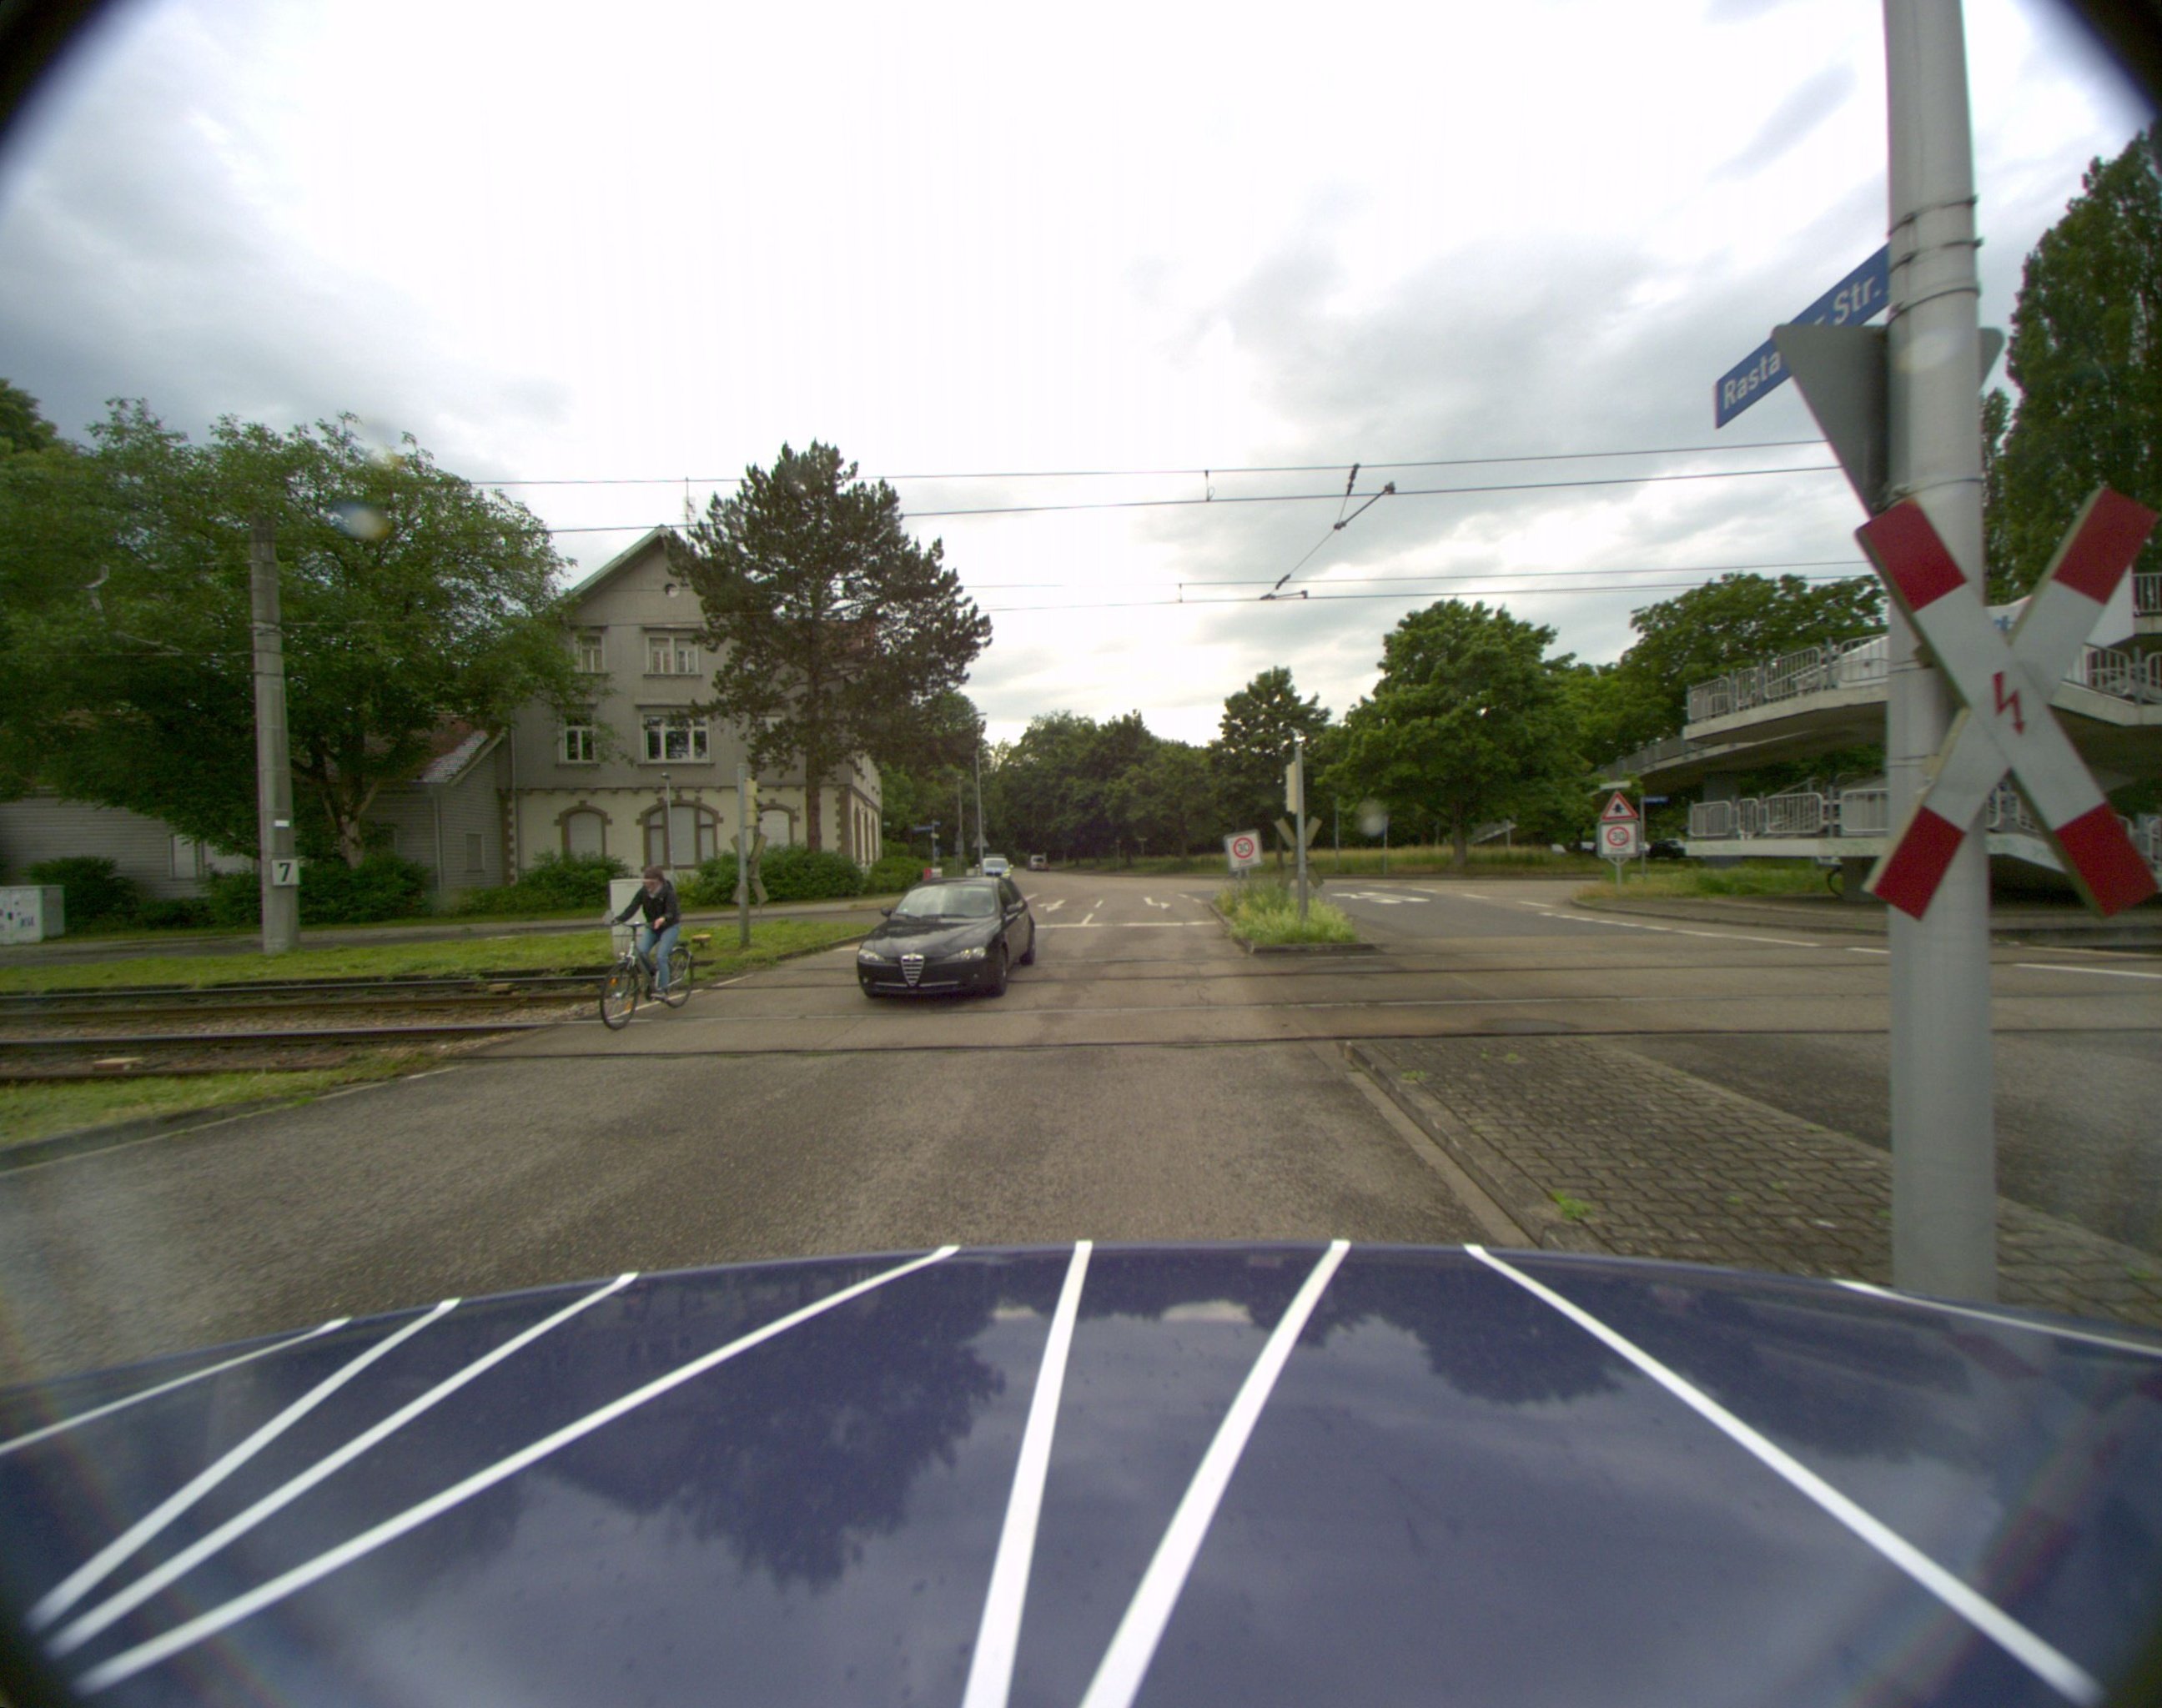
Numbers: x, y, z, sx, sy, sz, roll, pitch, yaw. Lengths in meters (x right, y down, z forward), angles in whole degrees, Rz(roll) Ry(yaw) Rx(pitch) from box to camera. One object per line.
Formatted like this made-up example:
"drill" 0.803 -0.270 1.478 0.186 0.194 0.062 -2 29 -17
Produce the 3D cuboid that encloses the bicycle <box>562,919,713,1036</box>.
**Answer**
"bicycle" -4.960 1.334 8.666 0.383 0.975 2.030 -2 1 4

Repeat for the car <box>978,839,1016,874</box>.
"car" -4.721 0.119 42.104 1.937 1.839 3.996 0 1 -9

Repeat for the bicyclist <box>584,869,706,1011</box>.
"bicyclist" -4.857 0.921 8.525 0.622 1.417 0.961 -6 2 3

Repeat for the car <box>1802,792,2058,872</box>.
"car" 27.218 -0.691 24.618 5.198 2.279 2.143 -2 2 16

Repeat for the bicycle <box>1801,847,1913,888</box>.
"bicycle" 17.527 0.306 17.205 1.738 0.880 0.395 -1 2 27

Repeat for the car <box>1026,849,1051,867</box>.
"car" -4.890 0.451 86.133 2.095 1.847 4.216 -3 1 -13

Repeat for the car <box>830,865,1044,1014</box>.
"car" -1.696 0.977 10.584 1.802 1.449 4.541 -2 1 4

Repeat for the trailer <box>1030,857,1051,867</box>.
"trailer" -4.426 0.859 82.427 1.573 0.980 3.460 -2 1 -14
